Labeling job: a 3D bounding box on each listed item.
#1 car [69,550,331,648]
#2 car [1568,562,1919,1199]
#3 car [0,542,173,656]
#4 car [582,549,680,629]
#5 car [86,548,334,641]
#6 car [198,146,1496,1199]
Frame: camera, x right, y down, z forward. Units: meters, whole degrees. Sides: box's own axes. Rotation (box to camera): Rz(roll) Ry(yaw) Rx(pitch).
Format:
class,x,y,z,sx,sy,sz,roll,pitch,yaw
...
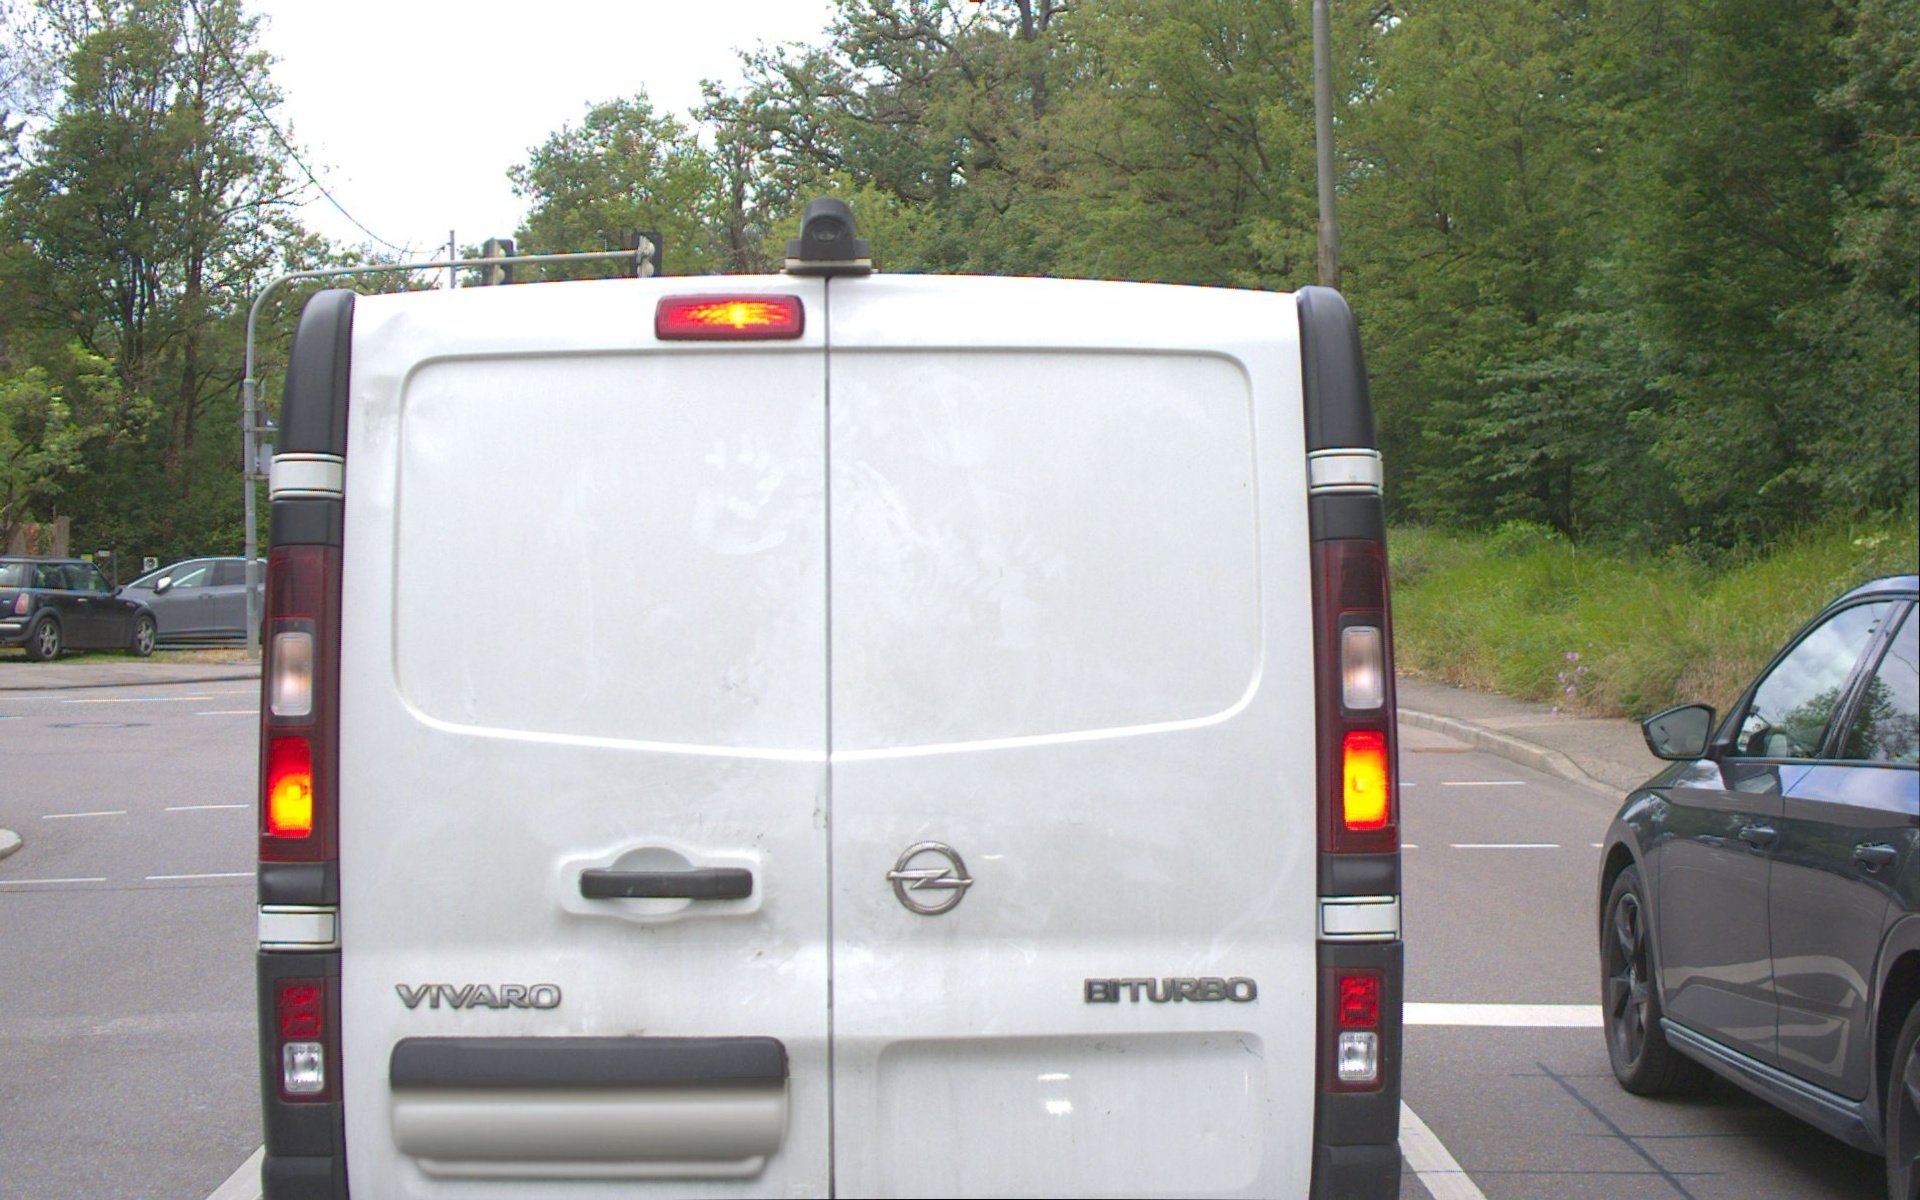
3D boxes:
class,x,y,z,sx,sy,sz,roll,pitch,yaw
car,-12.621,-0.036,57.034,4.085,1.548,1.855,-1,2,-17
car,2.687,0.651,7.808,1.792,1.445,4.000,0,1,-2
car,-12.438,-0.037,46.782,1.699,1.444,3.540,2,1,19
car,-6.465,-0.233,67.848,1.856,1.501,4.001,0,1,-5
car,-13.151,-0.111,60.212,4.085,1.548,1.855,-1,2,-17
car,-0.279,0.325,7.480,1.916,2.046,4.615,1,1,-3
